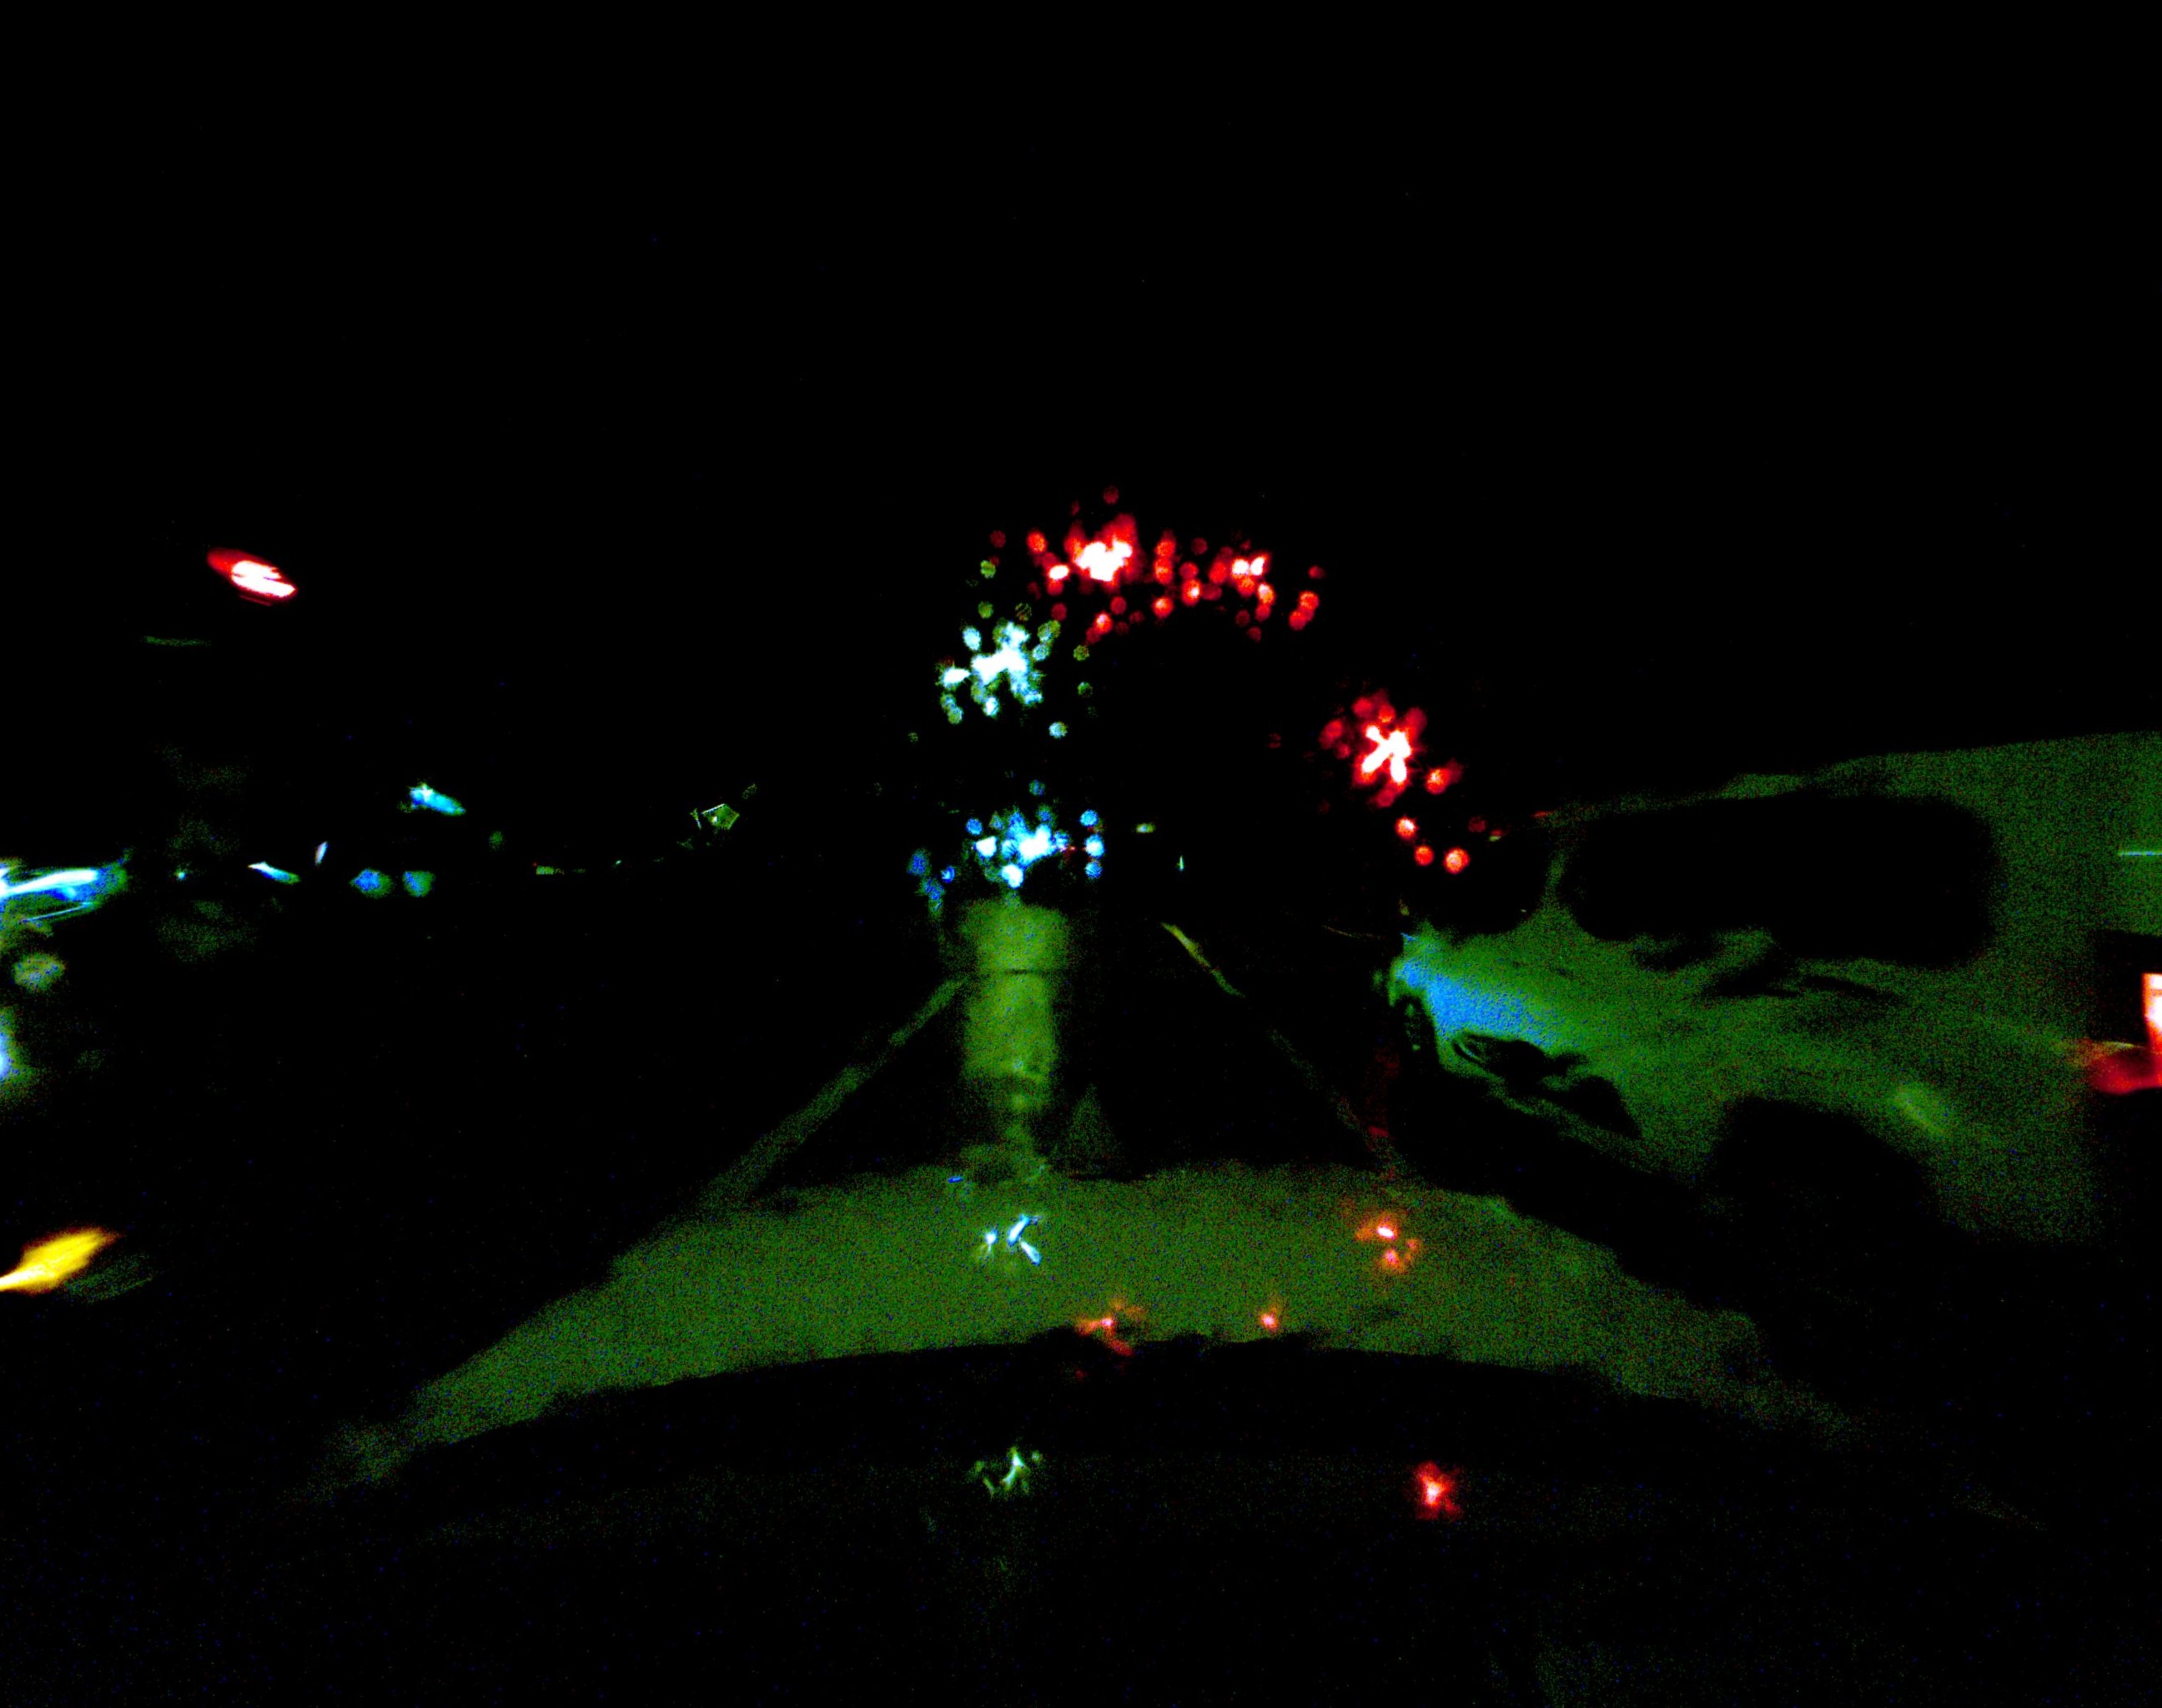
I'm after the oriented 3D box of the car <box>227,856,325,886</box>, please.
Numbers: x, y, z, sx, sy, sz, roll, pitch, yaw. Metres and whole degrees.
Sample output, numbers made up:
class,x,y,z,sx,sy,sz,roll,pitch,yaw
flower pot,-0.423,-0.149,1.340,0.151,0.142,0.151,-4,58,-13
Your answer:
class,x,y,z,sx,sy,sz,roll,pitch,yaw
car,-42.868,0.874,43.510,1.721,1.519,3.987,0,0,-9

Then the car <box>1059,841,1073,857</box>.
class,x,y,z,sx,sy,sz,roll,pitch,yaw
car,-1.893,-0.641,105.360,1.786,2.022,4.577,-1,0,-1

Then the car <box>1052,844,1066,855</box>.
class,x,y,z,sx,sy,sz,roll,pitch,yaw
car,-3.981,-0.822,149.531,1.983,1.717,4.007,3,-1,6

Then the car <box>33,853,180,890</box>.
class,x,y,z,sx,sy,sz,roll,pitch,yaw
car,-42.162,0.711,35.394,1.718,1.519,3.995,0,0,-4

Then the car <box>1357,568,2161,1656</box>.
class,x,y,z,sx,sy,sz,roll,pitch,yaw
car,2.919,0.472,3.739,1.785,2.022,4.579,-1,0,0
